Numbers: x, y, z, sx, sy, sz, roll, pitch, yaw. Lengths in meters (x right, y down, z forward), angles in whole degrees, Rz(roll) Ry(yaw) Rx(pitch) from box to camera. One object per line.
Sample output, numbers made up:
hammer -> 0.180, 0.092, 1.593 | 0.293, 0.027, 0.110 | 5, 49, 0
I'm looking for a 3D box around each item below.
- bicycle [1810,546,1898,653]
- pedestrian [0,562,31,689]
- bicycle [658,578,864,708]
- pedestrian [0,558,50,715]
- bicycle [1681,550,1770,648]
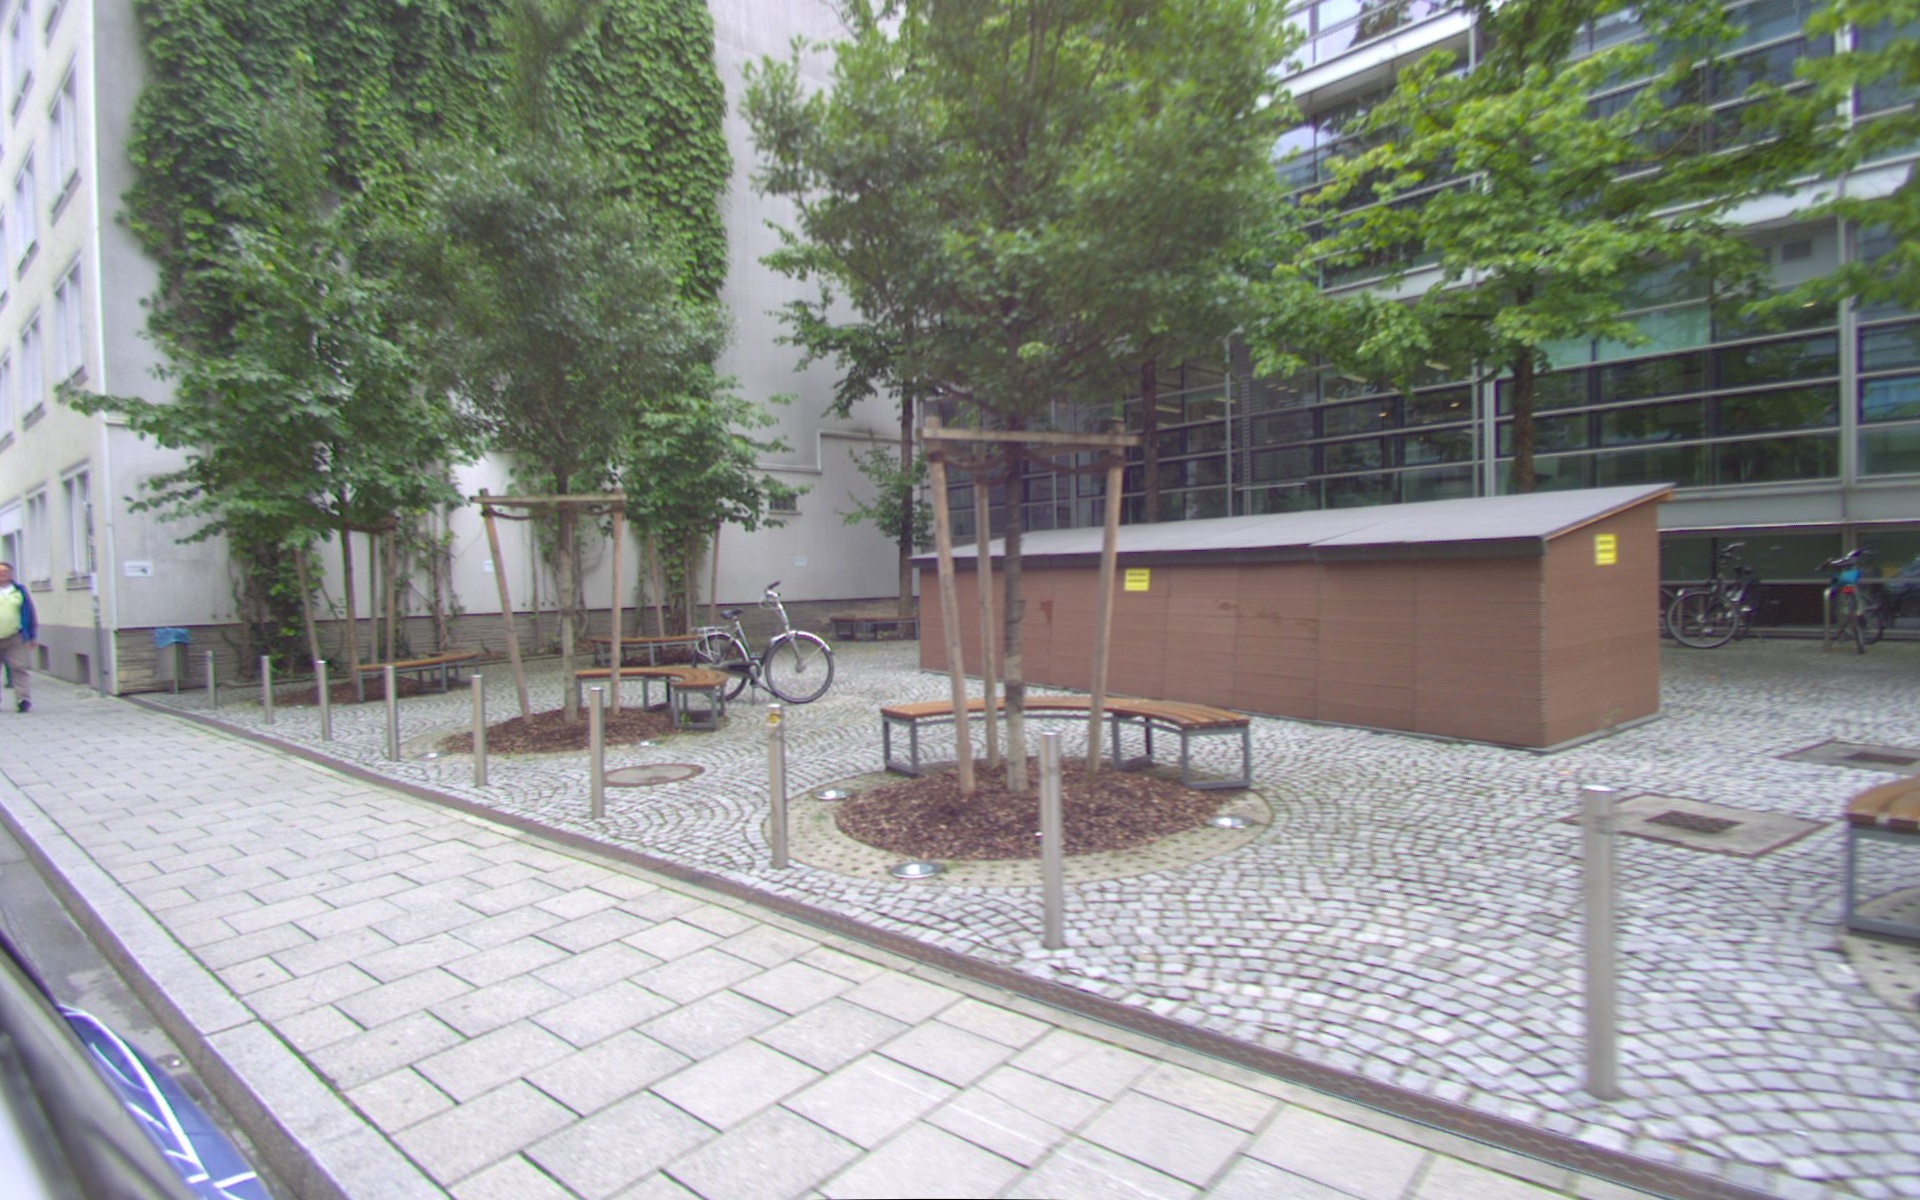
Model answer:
bicycle -> 9.694, -0.030, 10.957 | 0.629, 1.068, 1.554 | -1, 2, 44
pedestrian -> -14.875, 0.399, 15.539 | 0.879, 1.917, 0.735 | -1, 2, 42
bicycle -> -2.038, 0.421, 10.331 | 1.986, 1.217, 0.708 | -1, 2, 24
pedestrian -> -11.765, 0.444, 12.331 | 0.974, 1.858, 0.849 | -1, 2, 43
bicycle -> 8.984, -0.038, 11.858 | 0.629, 1.068, 1.554 | -1, 2, 44
